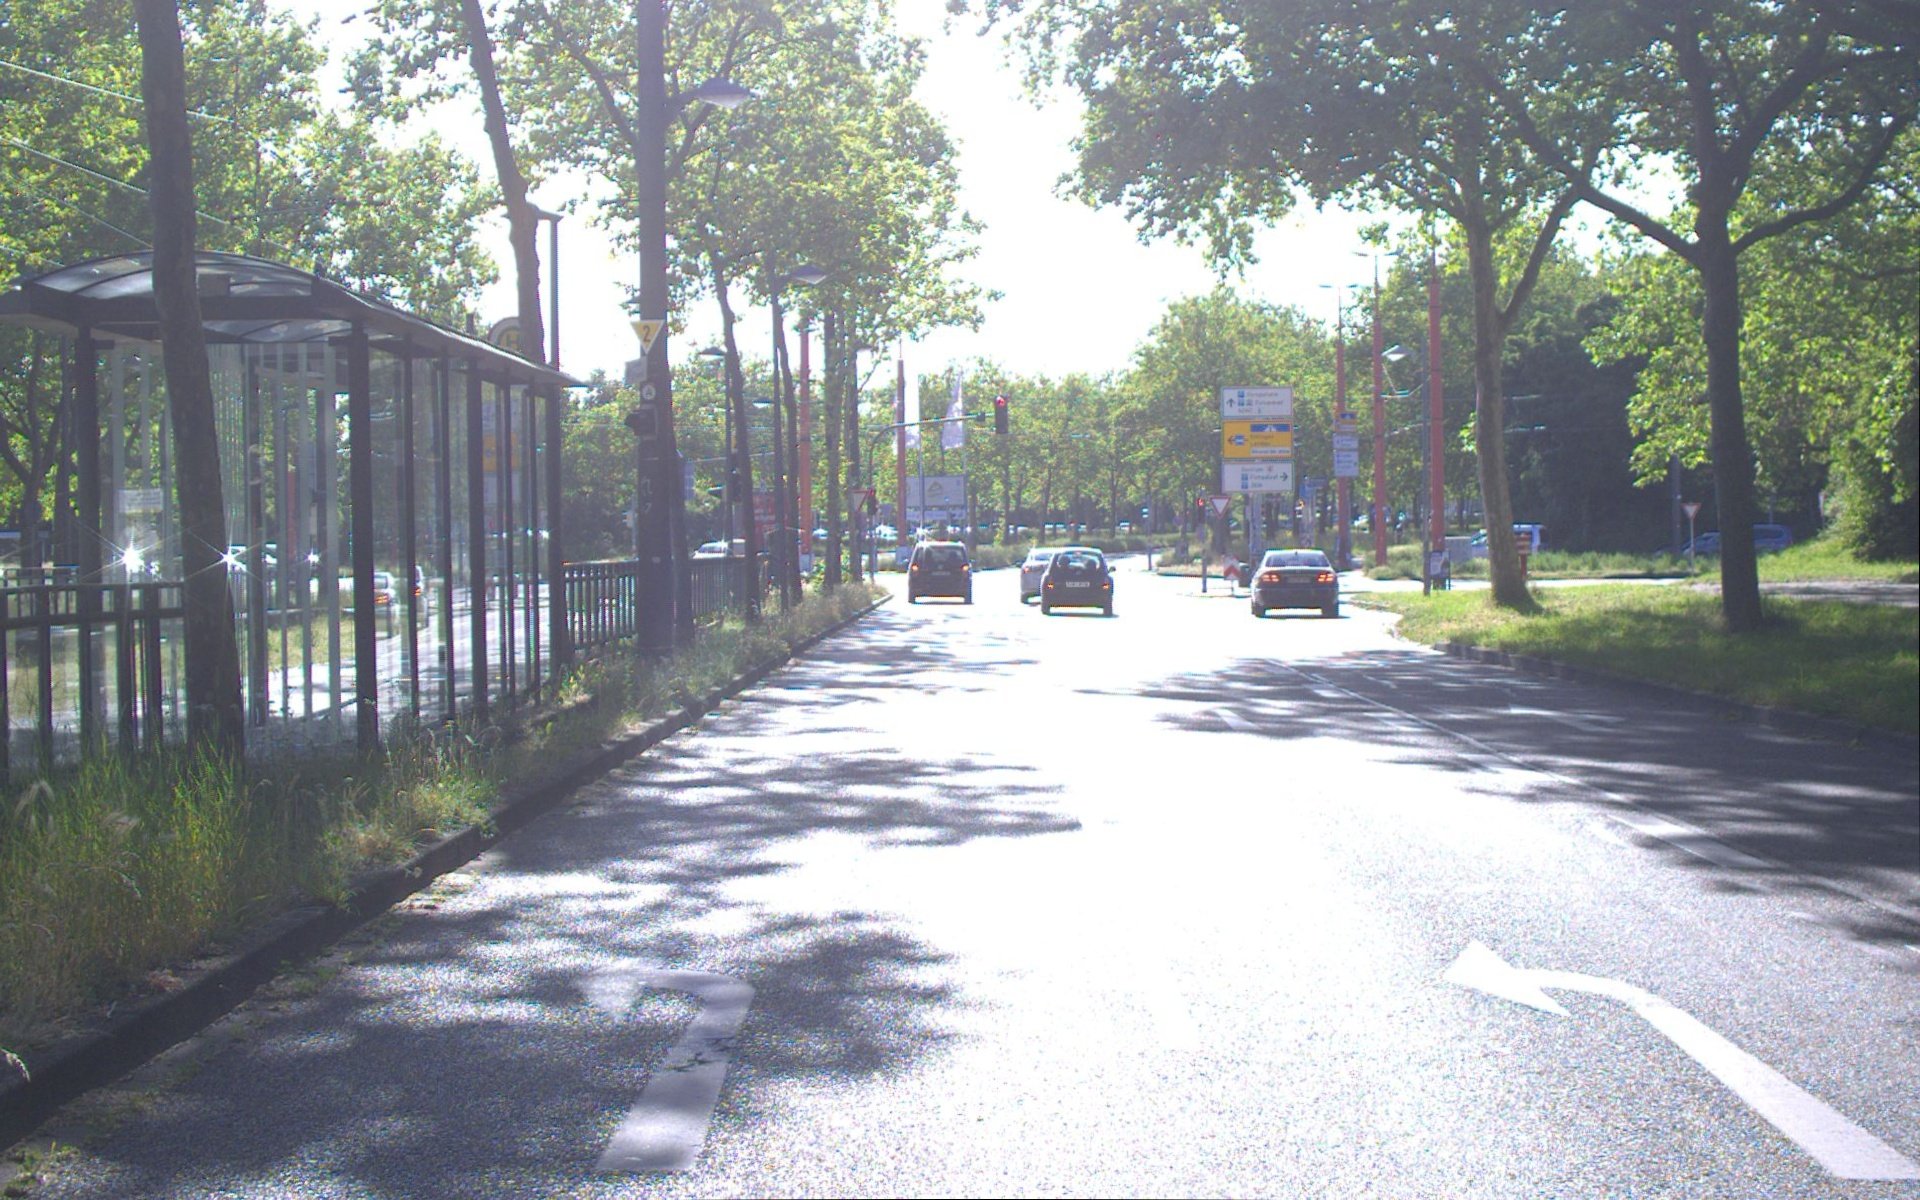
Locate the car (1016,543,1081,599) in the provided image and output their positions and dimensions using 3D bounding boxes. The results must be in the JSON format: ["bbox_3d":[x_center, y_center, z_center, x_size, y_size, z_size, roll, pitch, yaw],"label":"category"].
[{"bbox_3d":[2.375,-0.789,93.103,1.678,1.470,4.130,1,1,1],"label":"car"}]

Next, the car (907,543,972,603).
[{"bbox_3d":[-0.558,-0.730,92.611,1.710,1.598,3.350,0,1,-1],"label":"car"}]

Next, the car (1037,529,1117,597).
[{"bbox_3d":[2.675,-0.873,79.309,1.639,1.489,3.504,1,2,-1],"label":"car"}]

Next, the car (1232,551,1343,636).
[{"bbox_3d":[7.238,-0.162,76.376,1.982,1.786,4.614,1,1,0],"label":"car"}]

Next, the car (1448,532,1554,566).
[{"bbox_3d":[22.343,-2.101,142.071,3.993,1.333,1.726,1,1,26],"label":"car"}]

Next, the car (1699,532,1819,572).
[{"bbox_3d":[31.902,-1.908,137.311,4.357,1.553,1.870,1,1,25],"label":"car"}]
